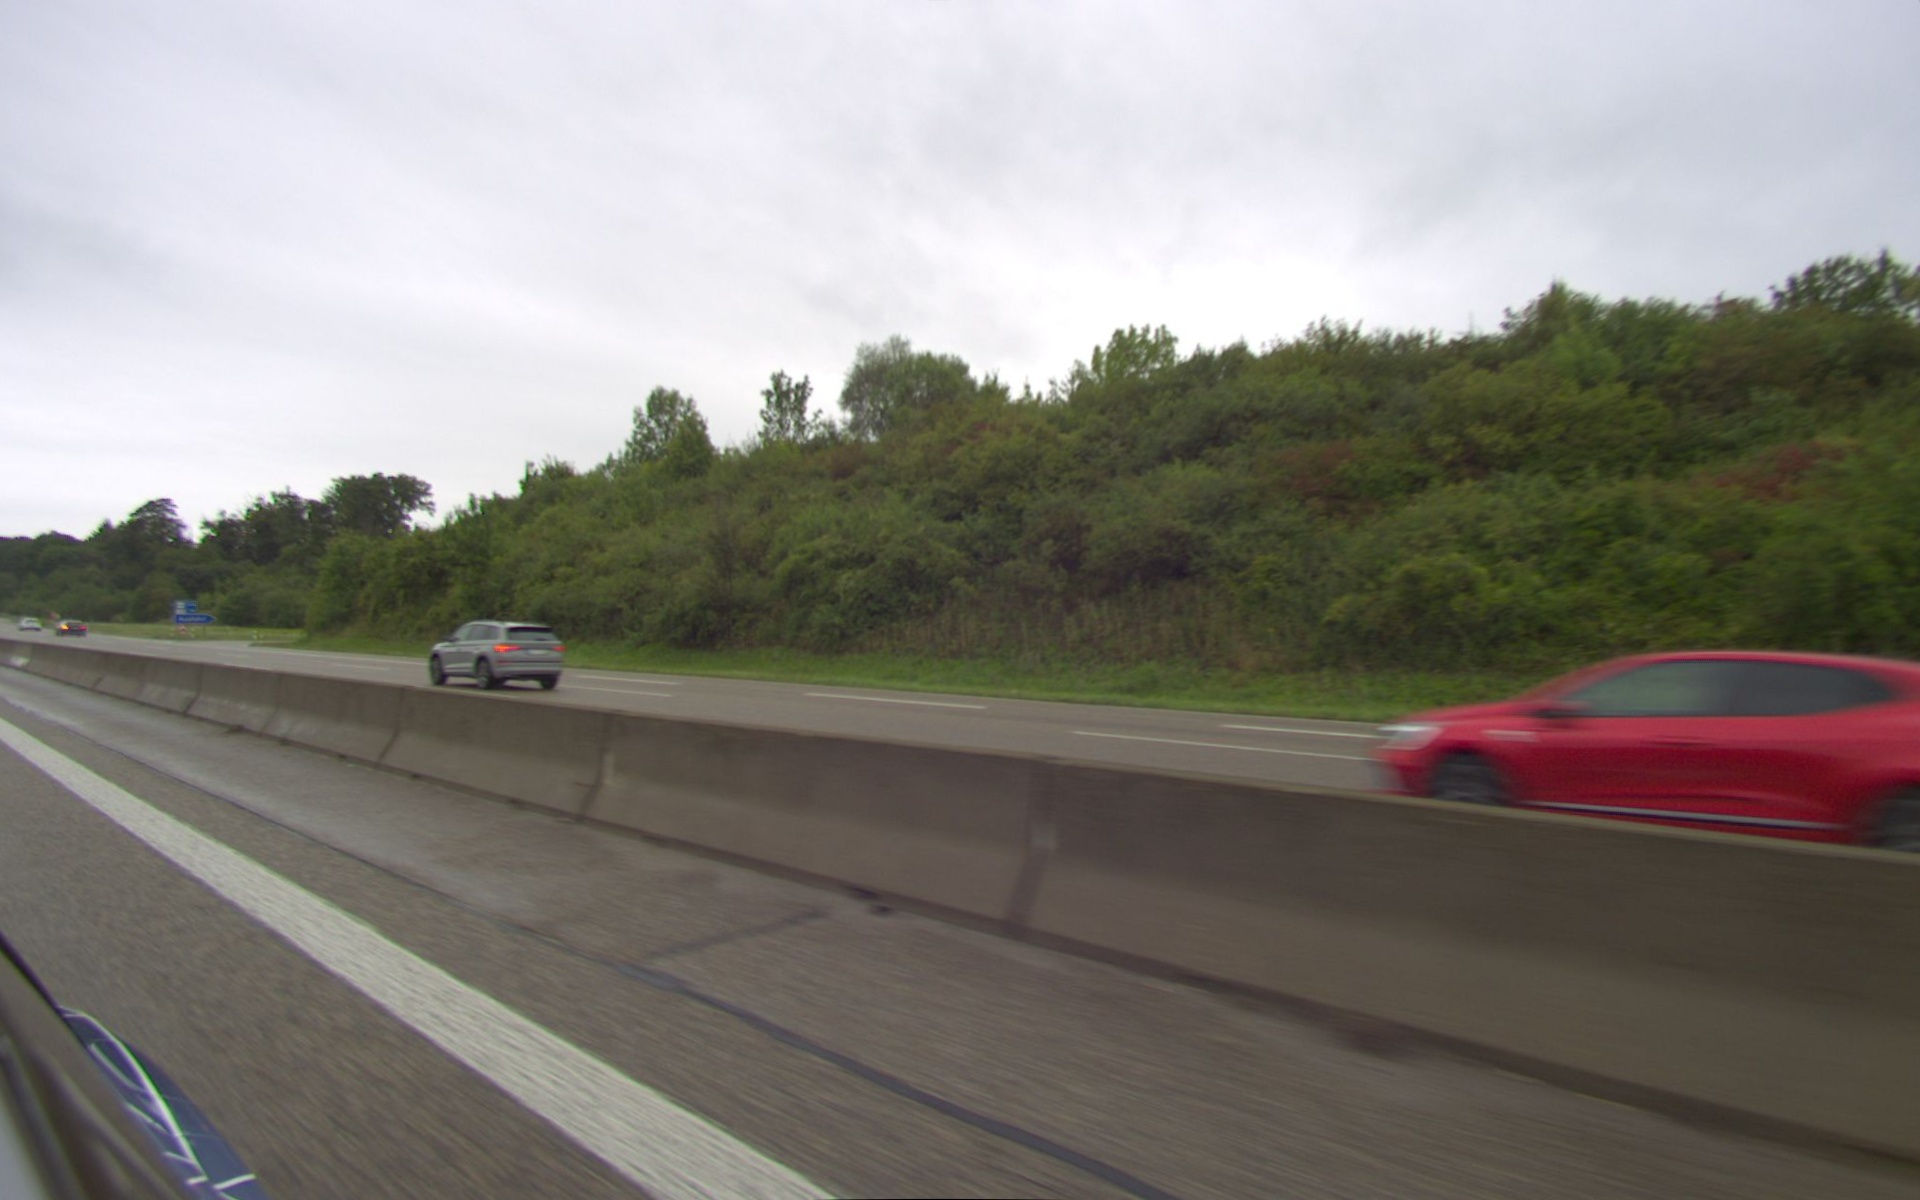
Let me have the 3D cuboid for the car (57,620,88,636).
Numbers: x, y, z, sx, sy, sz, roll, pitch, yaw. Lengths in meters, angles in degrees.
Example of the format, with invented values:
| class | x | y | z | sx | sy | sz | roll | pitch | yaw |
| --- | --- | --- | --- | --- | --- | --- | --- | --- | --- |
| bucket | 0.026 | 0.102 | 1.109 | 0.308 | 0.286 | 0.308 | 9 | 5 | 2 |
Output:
| class | x | y | z | sx | sy | sz | roll | pitch | yaw |
| --- | --- | --- | --- | --- | --- | --- | --- | --- | --- |
| car | -82.126 | 2.598 | 93.660 | 4.469 | 1.395 | 1.778 | -1 | -3 | 44 |

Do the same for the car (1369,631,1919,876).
| class | x | y | z | sx | sy | sz | roll | pitch | yaw |
| --- | --- | --- | --- | --- | --- | --- | --- | --- | --- |
| car | 5.421 | 0.972 | 7.249 | 4.363 | 1.423 | 1.618 | -1 | -4 | 40 |

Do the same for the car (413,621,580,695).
| class | x | y | z | sx | sy | sz | roll | pitch | yaw |
| --- | --- | --- | --- | --- | --- | --- | --- | --- | --- |
| car | -11.779 | 1.389 | 25.558 | 4.914 | 1.701 | 1.973 | -1 | -2 | 41 |

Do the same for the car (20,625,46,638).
| class | x | y | z | sx | sy | sz | roll | pitch | yaw |
| --- | --- | --- | --- | --- | --- | --- | --- | --- | --- |
| car | -110.966 | 3.751 | 121.110 | 4.627 | 1.461 | 1.779 | -1 | -2 | 41 |
